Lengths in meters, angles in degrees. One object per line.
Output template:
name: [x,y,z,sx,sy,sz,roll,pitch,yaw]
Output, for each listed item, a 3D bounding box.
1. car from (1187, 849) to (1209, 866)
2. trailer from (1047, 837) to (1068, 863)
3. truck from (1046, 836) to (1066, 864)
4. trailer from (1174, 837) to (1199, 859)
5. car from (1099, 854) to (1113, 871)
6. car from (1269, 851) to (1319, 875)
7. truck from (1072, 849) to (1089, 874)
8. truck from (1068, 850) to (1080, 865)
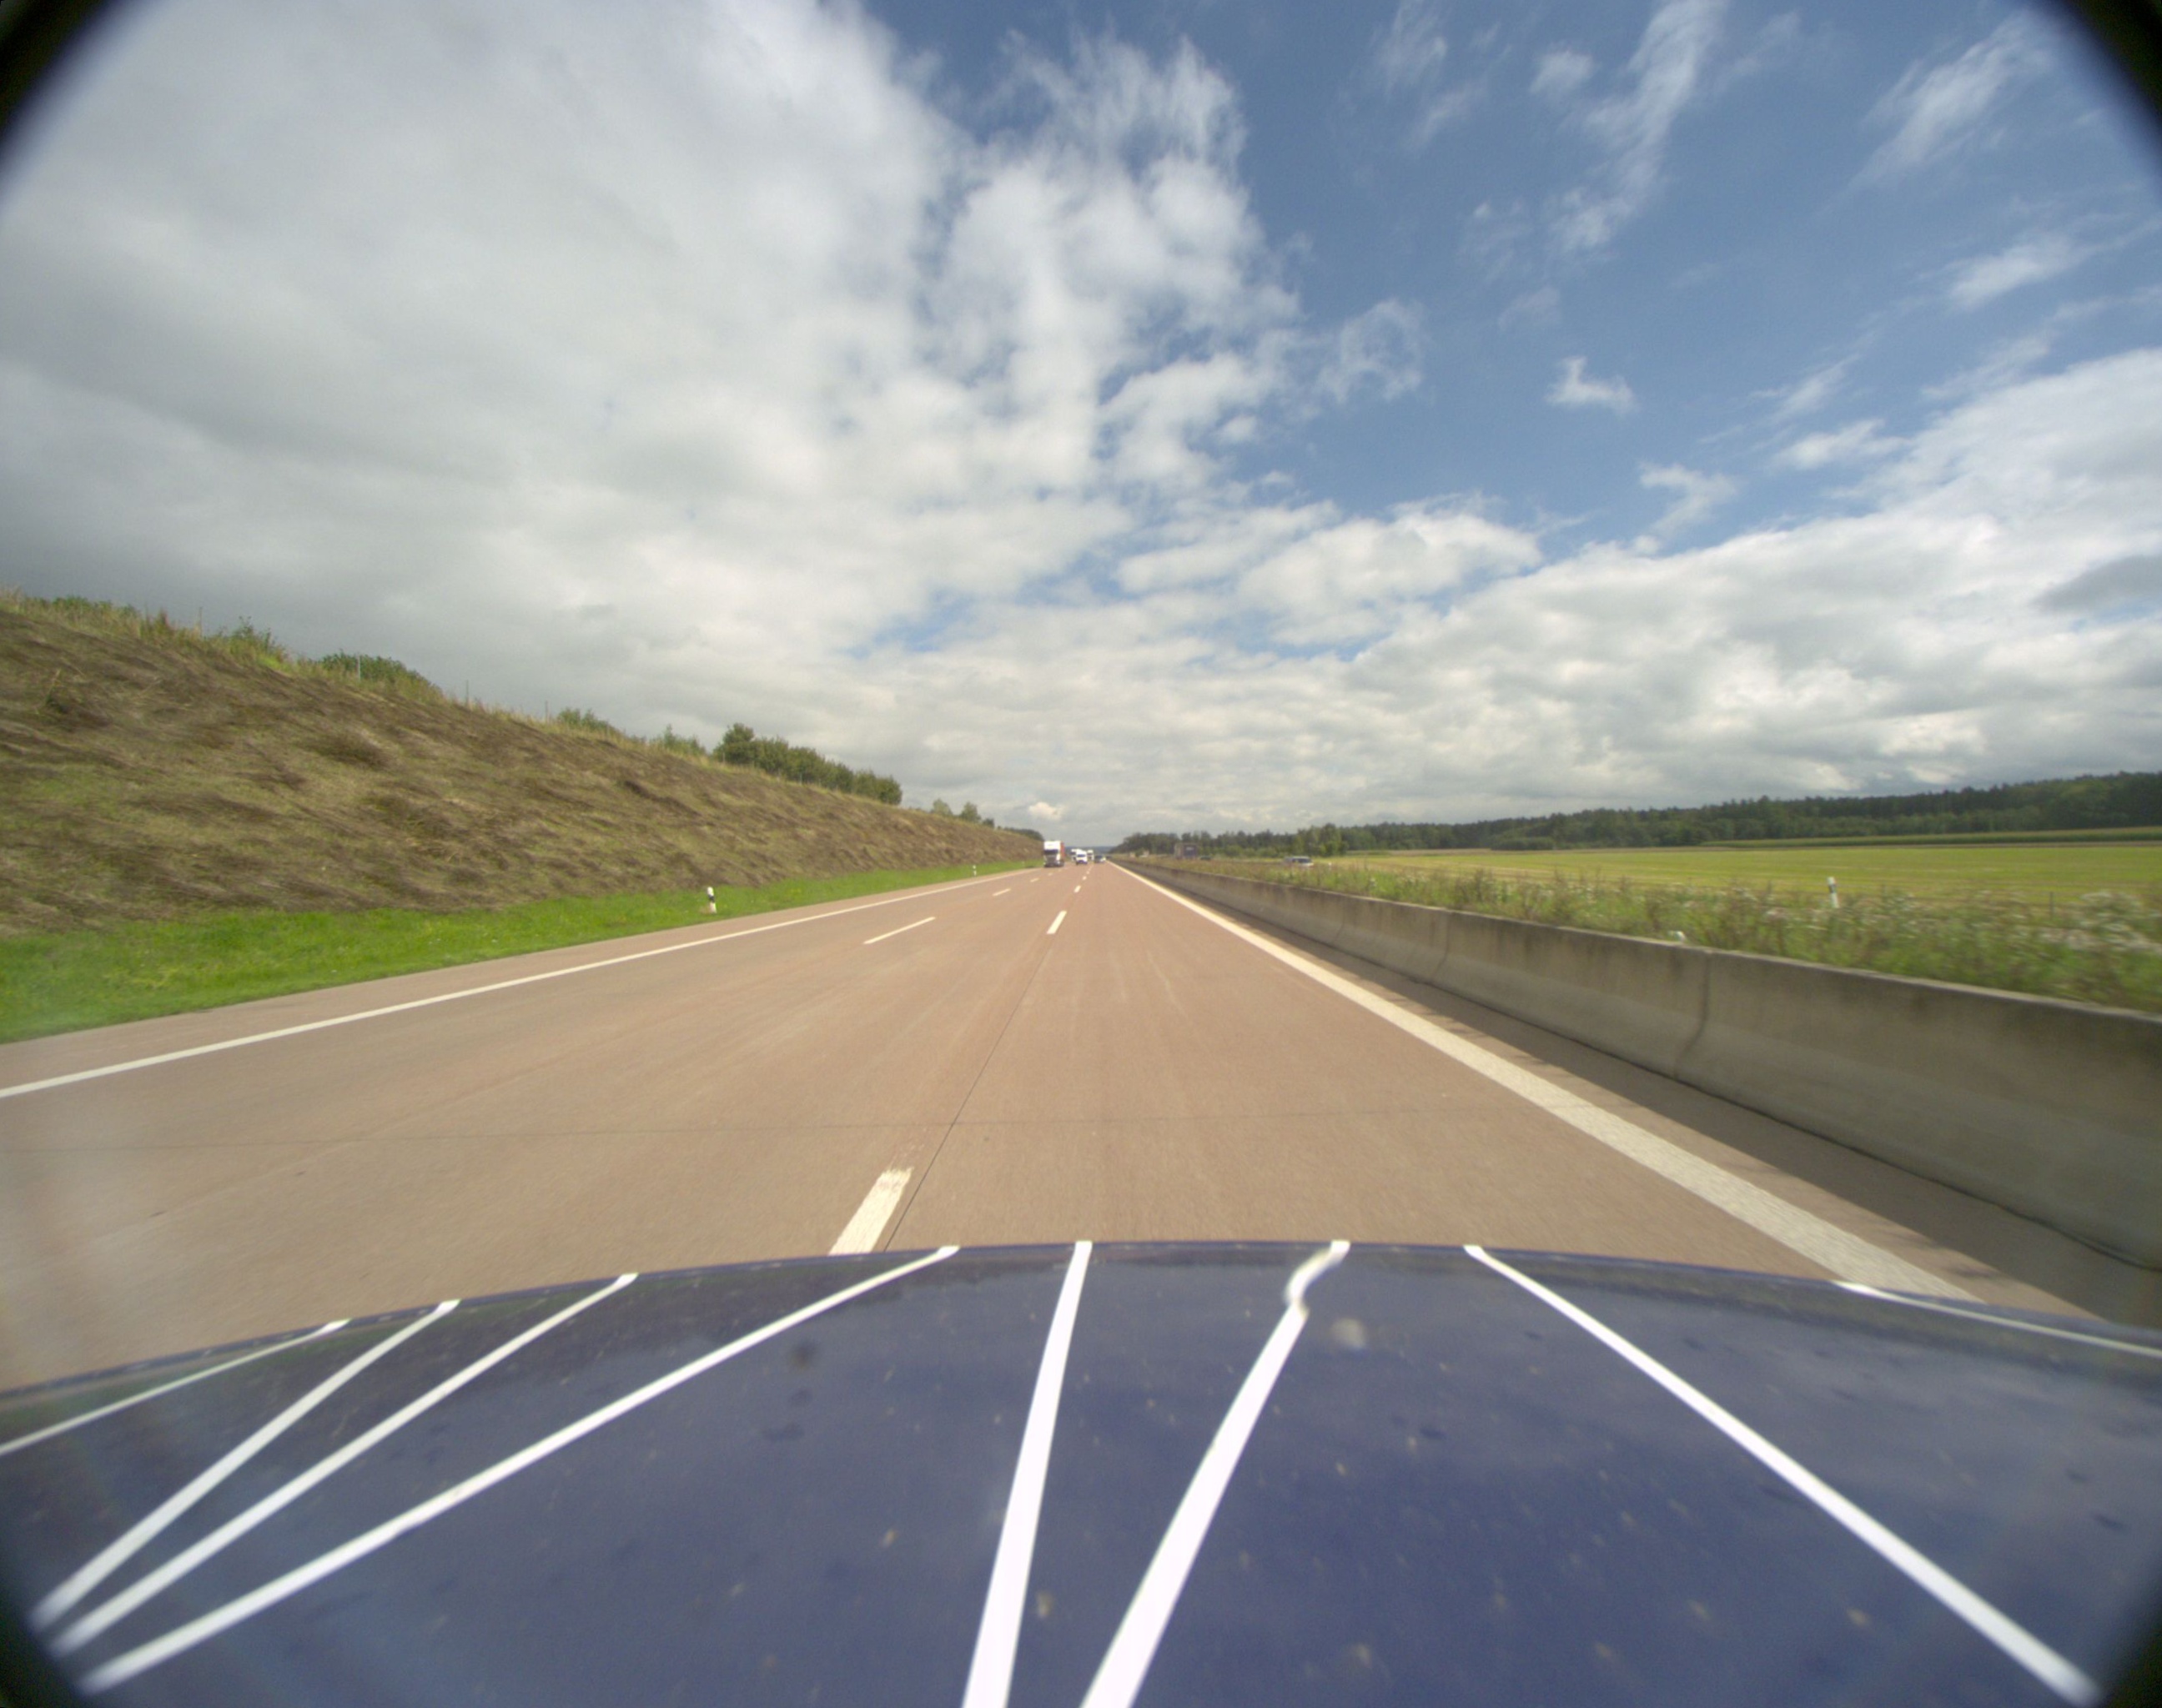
car: [13.804,0.394,89.684,1.998,2.002,4.000,0,0,0]
trailer: [-3.740,-0.611,126.134,2.679,4.069,12.790,-2,0,1]
truck: [-3.892,-0.604,120.085,2.680,4.082,6.616,-2,0,1]
trailer: [20.037,-1.103,144.936,2.777,3.936,14.330,-1,0,1]
car: [5.210,1.688,156.905,2.773,3.260,6.393,-3,0,2]
car: [13.772,0.545,49.400,1.999,1.499,4.273,0,0,-1]
truck: [-0.029,1.339,142.256,2.681,4.333,11.809,-3,0,1]
truck: [-2.124,1.090,227.445,3.107,4.333,11.257,-3,0,1]
